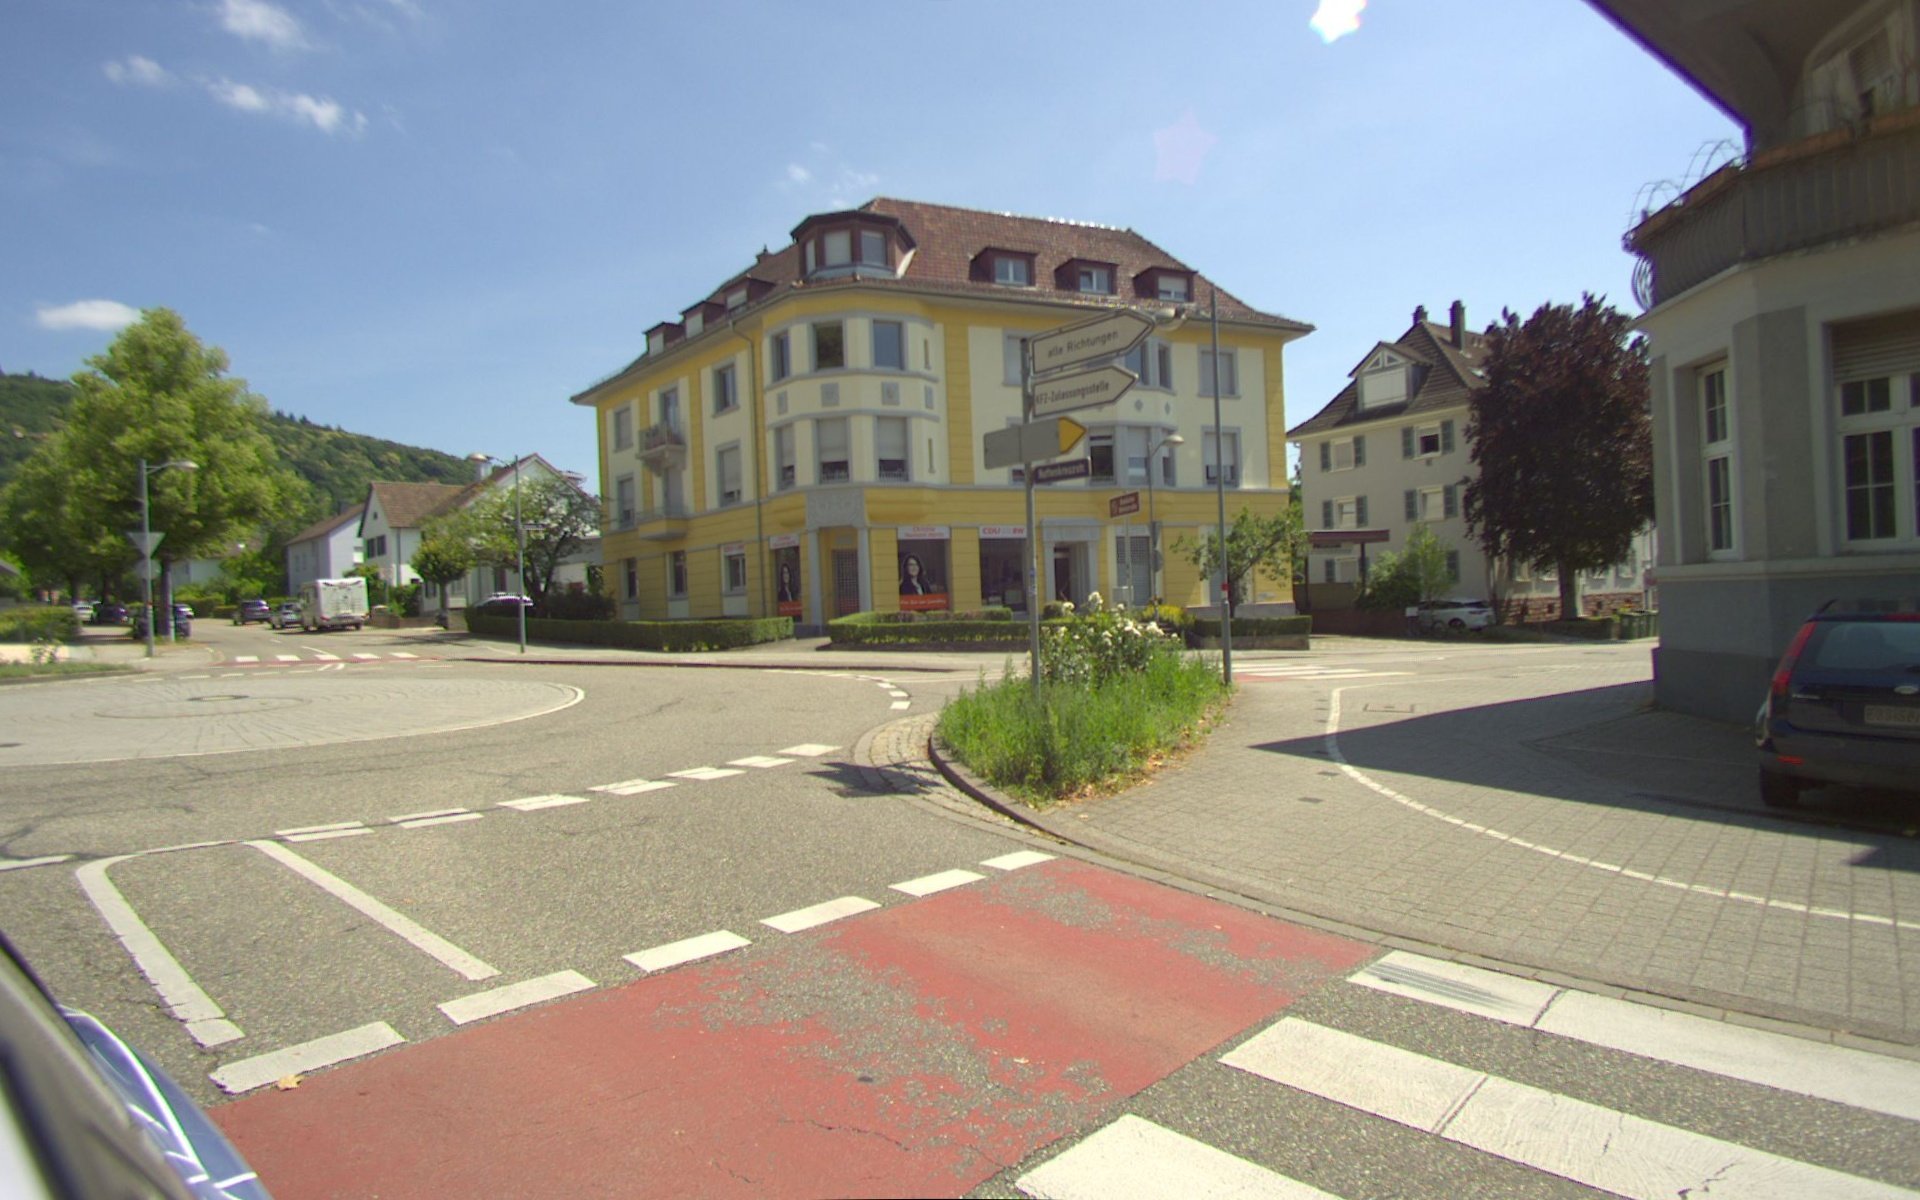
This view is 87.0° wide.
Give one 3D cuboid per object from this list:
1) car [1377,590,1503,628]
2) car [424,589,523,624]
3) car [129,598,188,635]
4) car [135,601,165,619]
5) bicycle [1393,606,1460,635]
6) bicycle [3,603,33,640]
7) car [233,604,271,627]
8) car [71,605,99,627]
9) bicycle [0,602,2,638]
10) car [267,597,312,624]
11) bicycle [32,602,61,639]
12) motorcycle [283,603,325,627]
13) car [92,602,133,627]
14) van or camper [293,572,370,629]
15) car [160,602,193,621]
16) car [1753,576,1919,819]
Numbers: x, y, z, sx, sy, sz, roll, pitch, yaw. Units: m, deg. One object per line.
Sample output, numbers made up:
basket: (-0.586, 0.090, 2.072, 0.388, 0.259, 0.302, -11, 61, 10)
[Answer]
car: (20.192, 0.368, 42.682, 1.970, 1.520, 4.422, 0, -1, -44)
car: (-23.321, 0.300, 48.589, 1.752, 1.598, 3.946, -1, 0, 34)
car: (-35.221, 0.725, 44.417, 1.730, 1.516, 3.997, -1, 0, -43)
car: (-79.500, 0.941, 99.332, 1.970, 1.679, 4.004, -1, 1, -43)
bicycle: (18.685, 0.823, 40.595, 0.658, 1.147, 2.391, 0, -1, -41)
bicycle: (-35.969, 0.805, 38.650, 0.561, 1.388, 1.752, 0, 0, -33)
car: (-49.526, 1.072, 70.773, 1.729, 1.516, 3.998, -1, 0, -41)
car: (-73.173, 1.301, 84.627, 1.740, 1.763, 4.006, -1, 0, -41)
bicycle: (-36.725, 0.756, 38.174, 0.561, 1.388, 1.752, 0, 0, -33)
car: (-39.530, 0.644, 59.617, 1.729, 1.516, 3.998, -1, 0, -41)
bicycle: (-35.287, 0.786, 39.093, 0.561, 1.388, 1.752, 0, 0, -33)
motorcycle: (-36.545, 0.820, 56.411, 0.730, 1.329, 2.230, -1, 0, 5)
car: (-60.449, 1.010, 72.175, 1.970, 1.679, 4.004, -1, 1, -43)
van or camper: (-32.613, 0.026, 52.428, 2.240, 2.658, 5.893, -5, 3, -42)
car: (-70.970, 1.033, 91.673, 1.970, 1.679, 4.004, -1, 1, -43)
car: (7.220, 0.573, 7.335, 3.735, 1.471, 1.726, -1, 0, -43)
